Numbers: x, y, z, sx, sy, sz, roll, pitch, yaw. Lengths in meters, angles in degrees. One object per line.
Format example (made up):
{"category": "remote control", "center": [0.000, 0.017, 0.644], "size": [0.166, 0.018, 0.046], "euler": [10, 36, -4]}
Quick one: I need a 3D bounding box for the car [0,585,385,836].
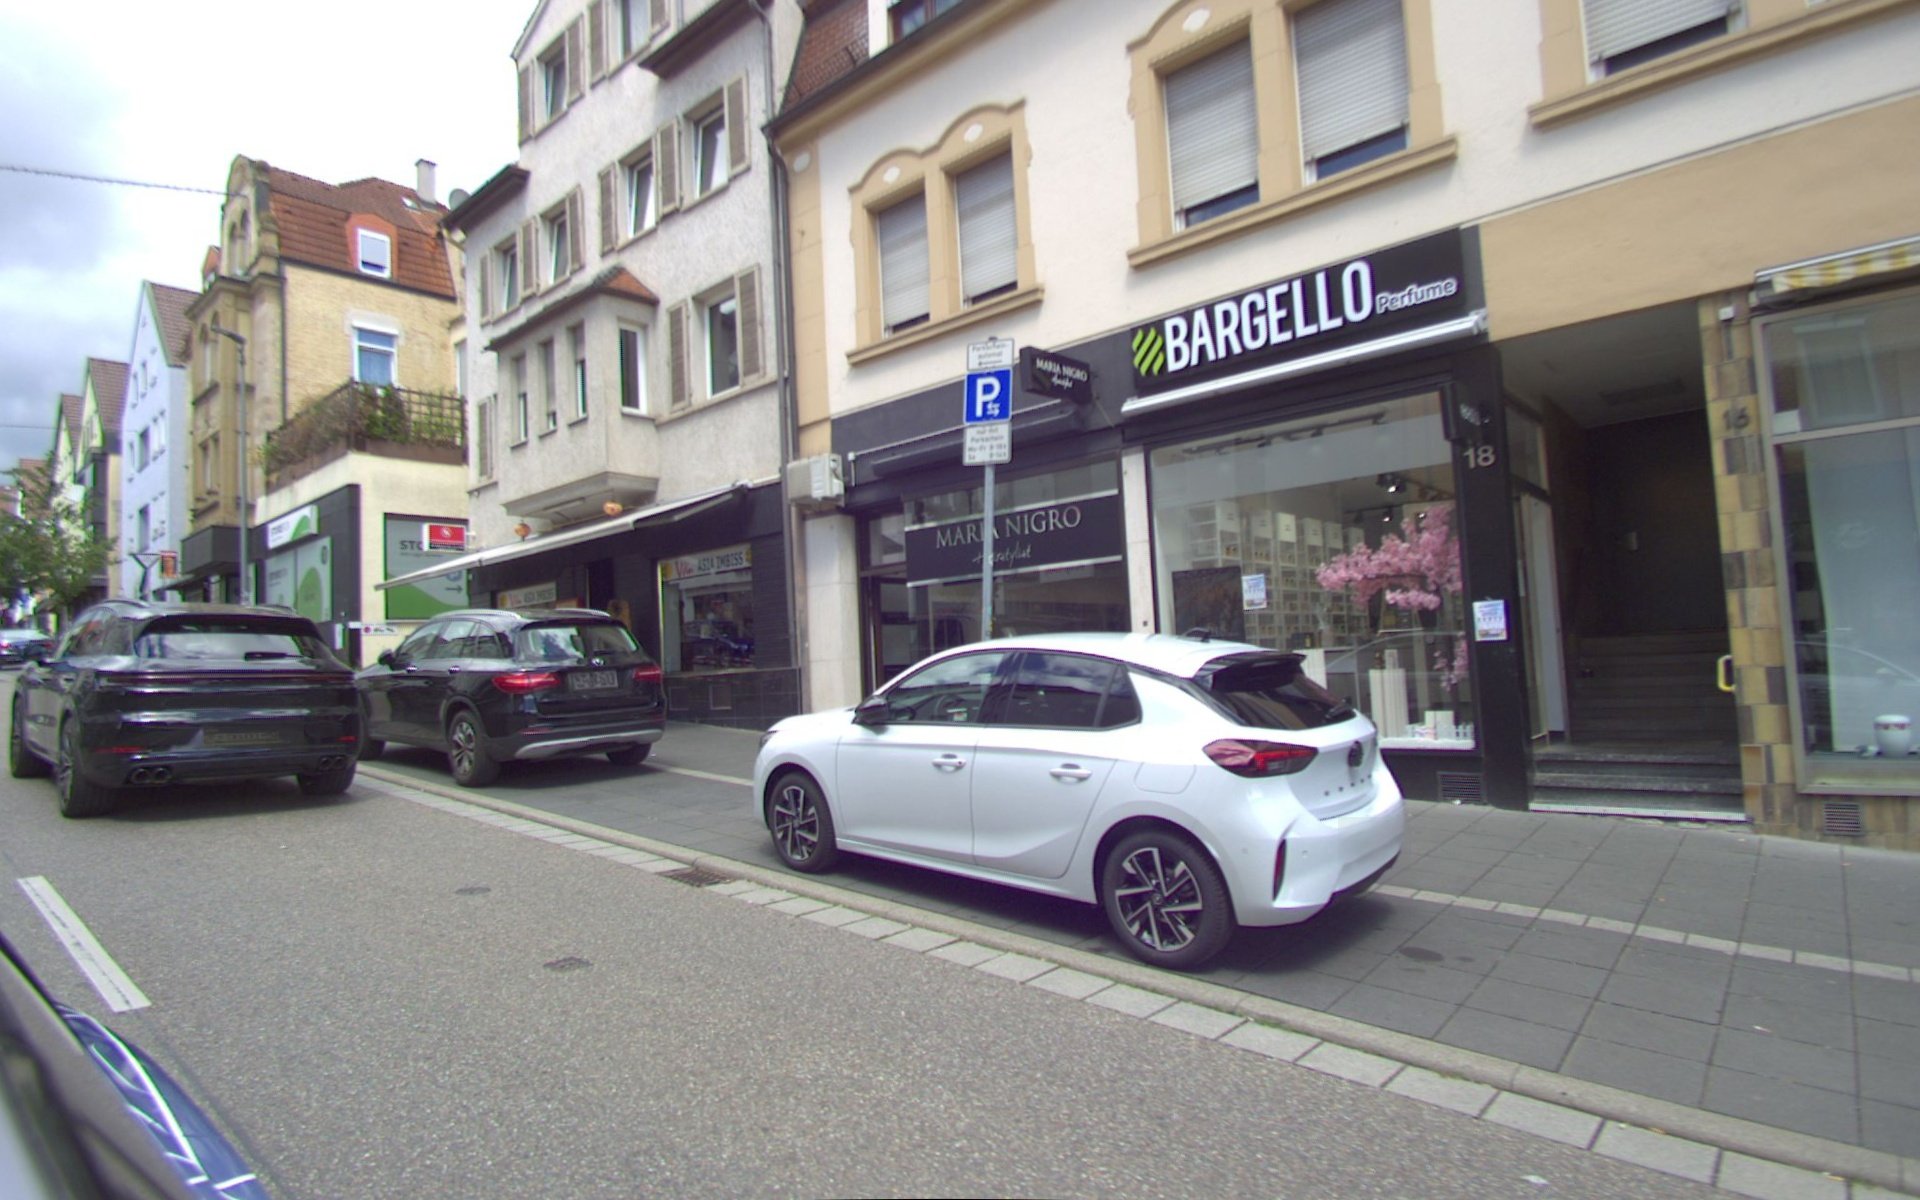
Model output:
{"category": "car", "center": [-7.161, 0.850, 9.220], "size": [4.445, 1.731, 1.971], "euler": [-2, -3, 41]}

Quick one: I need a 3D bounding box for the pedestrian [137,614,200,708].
{"category": "pedestrian", "center": [-14.640, 1.104, 18.713], "size": [0.862, 1.685, 0.730], "euler": [-2, -2, 39]}

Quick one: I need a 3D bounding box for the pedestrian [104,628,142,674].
{"category": "pedestrian", "center": [-27.699, 1.674, 33.494], "size": [0.809, 1.474, 0.817], "euler": [-2, 0, 41]}

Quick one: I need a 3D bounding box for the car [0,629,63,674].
{"category": "car", "center": [-34.766, 1.894, 37.288], "size": [4.839, 1.504, 1.907], "euler": [-3, -1, 40]}

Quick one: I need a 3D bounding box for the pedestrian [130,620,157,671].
{"category": "pedestrian", "center": [-28.222, 1.566, 34.964], "size": [0.710, 1.726, 0.581], "euler": [-2, -1, 41]}

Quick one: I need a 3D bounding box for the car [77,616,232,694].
{"category": "car", "center": [-18.093, 1.205, 22.669], "size": [4.259, 1.523, 1.907], "euler": [-3, -1, 40]}

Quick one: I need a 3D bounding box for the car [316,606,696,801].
{"category": "car", "center": [-5.015, 0.928, 10.849], "size": [4.636, 1.633, 1.907], "euler": [-2, -1, 40]}

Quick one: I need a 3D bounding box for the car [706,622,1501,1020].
{"category": "car", "center": [0.548, 0.894, 5.910], "size": [4.261, 1.441, 1.906], "euler": [-2, -2, 42]}
